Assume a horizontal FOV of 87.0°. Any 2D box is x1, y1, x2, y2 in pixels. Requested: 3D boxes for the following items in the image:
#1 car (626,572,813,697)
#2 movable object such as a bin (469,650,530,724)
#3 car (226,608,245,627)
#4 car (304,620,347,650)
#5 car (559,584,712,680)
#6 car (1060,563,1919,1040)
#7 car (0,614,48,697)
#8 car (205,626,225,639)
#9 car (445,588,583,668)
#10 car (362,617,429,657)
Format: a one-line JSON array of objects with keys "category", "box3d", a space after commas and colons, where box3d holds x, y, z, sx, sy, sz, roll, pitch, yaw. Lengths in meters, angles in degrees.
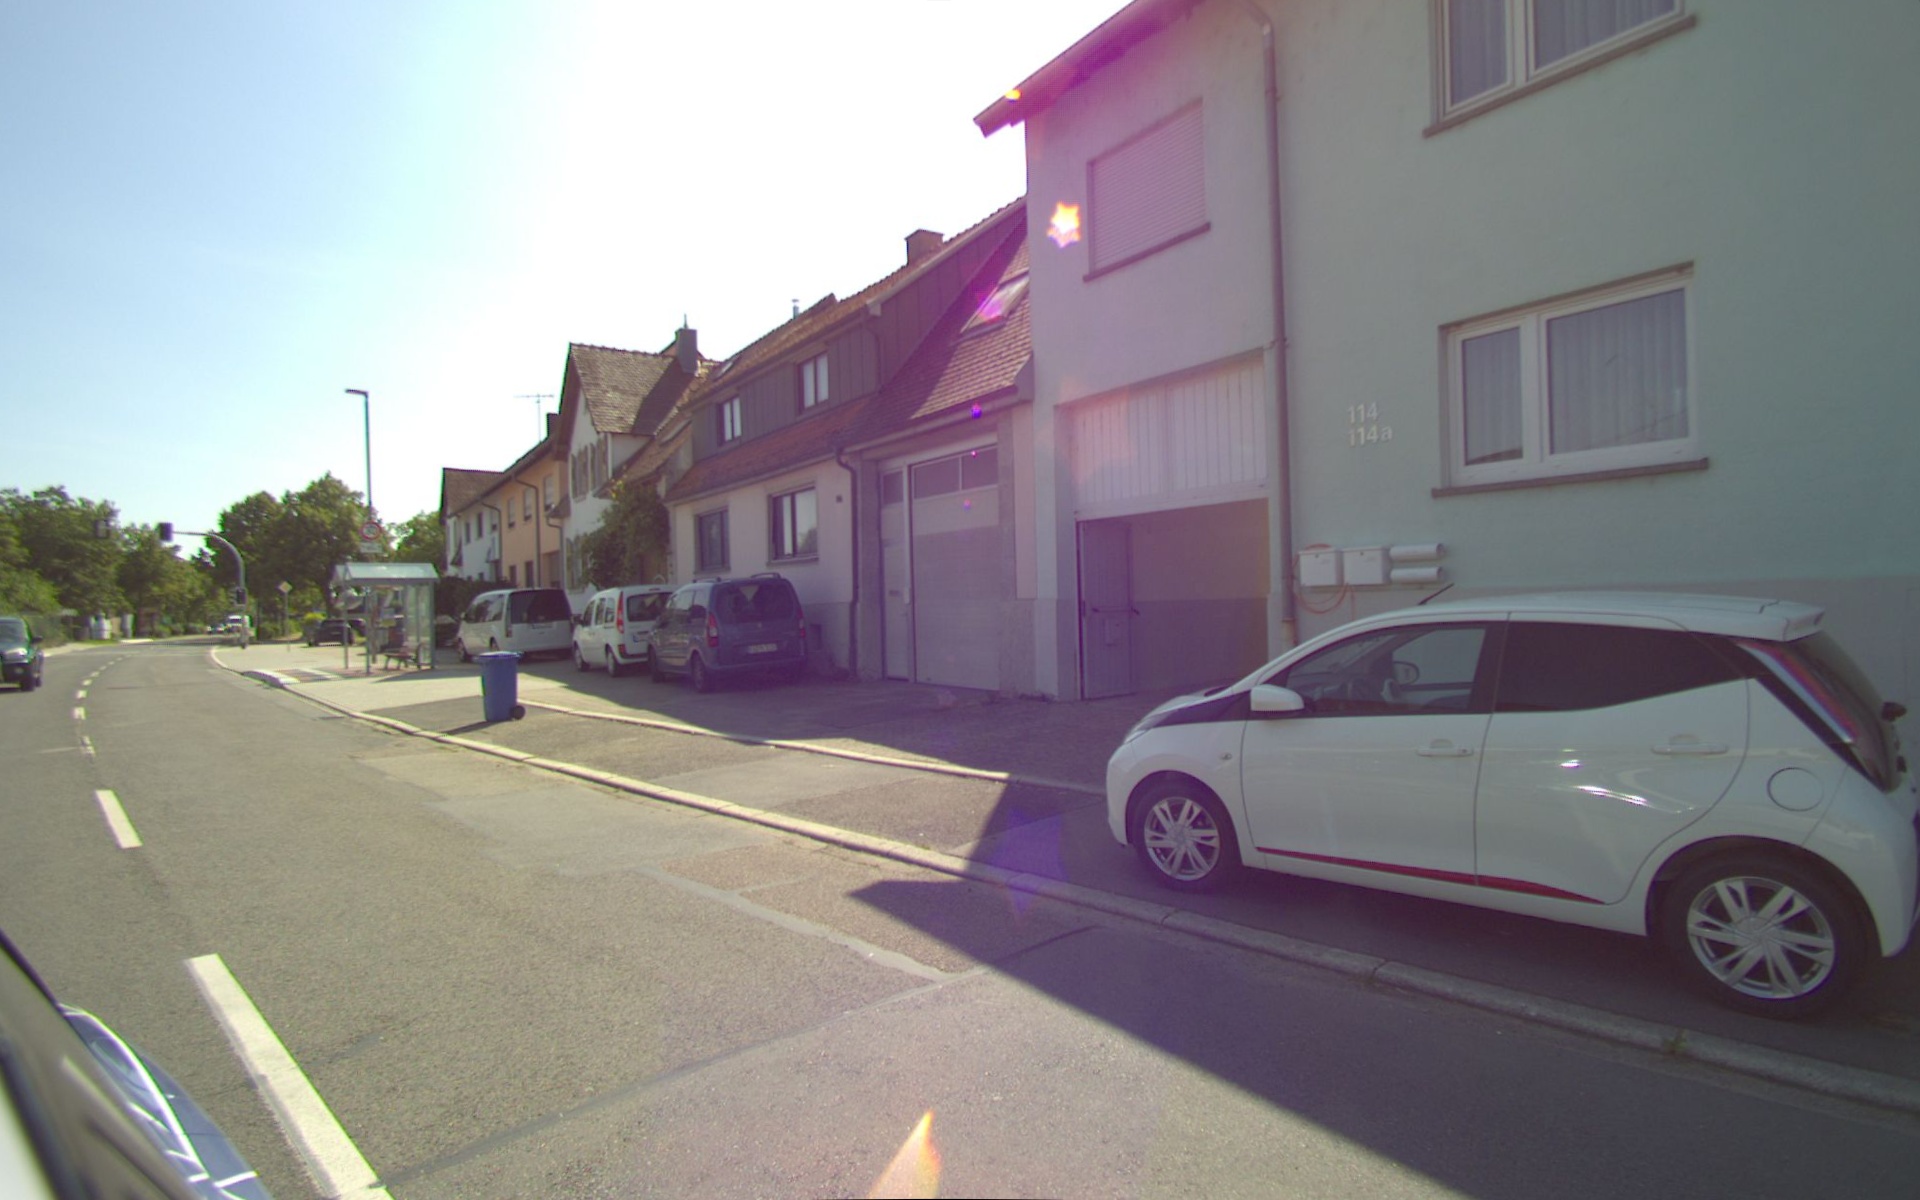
[{"category": "car", "box3d": [-4.340, 0.535, 17.703, 1.812, 1.806, 4.355, -5, 2, -31]}, {"category": "movable object such as a bin", "box3d": [-6.360, 1.193, 13.988, 0.514, 0.943, 0.552, -1, 2, 40]}, {"category": "car", "box3d": [-101.110, 2.389, 141.331, 1.907, 2.521, 5.854, -1, 0, -33]}, {"category": "car", "box3d": [-34.344, 1.855, 54.726, 1.692, 1.418, 4.408, 0, 0, -36]}, {"category": "car", "box3d": [-7.065, 0.614, 21.745, 1.942, 1.787, 4.288, -2, 1, -35]}, {"category": "car", "box3d": [2.441, 0.619, 4.784, 3.650, 1.473, 1.665, -1, 1, 44]}, {"category": "car", "box3d": [-21.840, 1.267, 22.583, 1.820, 1.709, 4.407, -2, -1, -37]}, {"category": "car", "box3d": [-93.060, 4.039, 126.450, 1.816, 1.604, 4.117, -1, 0, -33]}, {"category": "car", "box3d": [-12.640, 0.724, 28.459, 2.100, 2.001, 5.273, -2, 1, -40]}, {"category": "car", "box3d": [-22.704, 1.482, 40.616, 1.693, 1.464, 3.922, -3, 0, -38]}]
